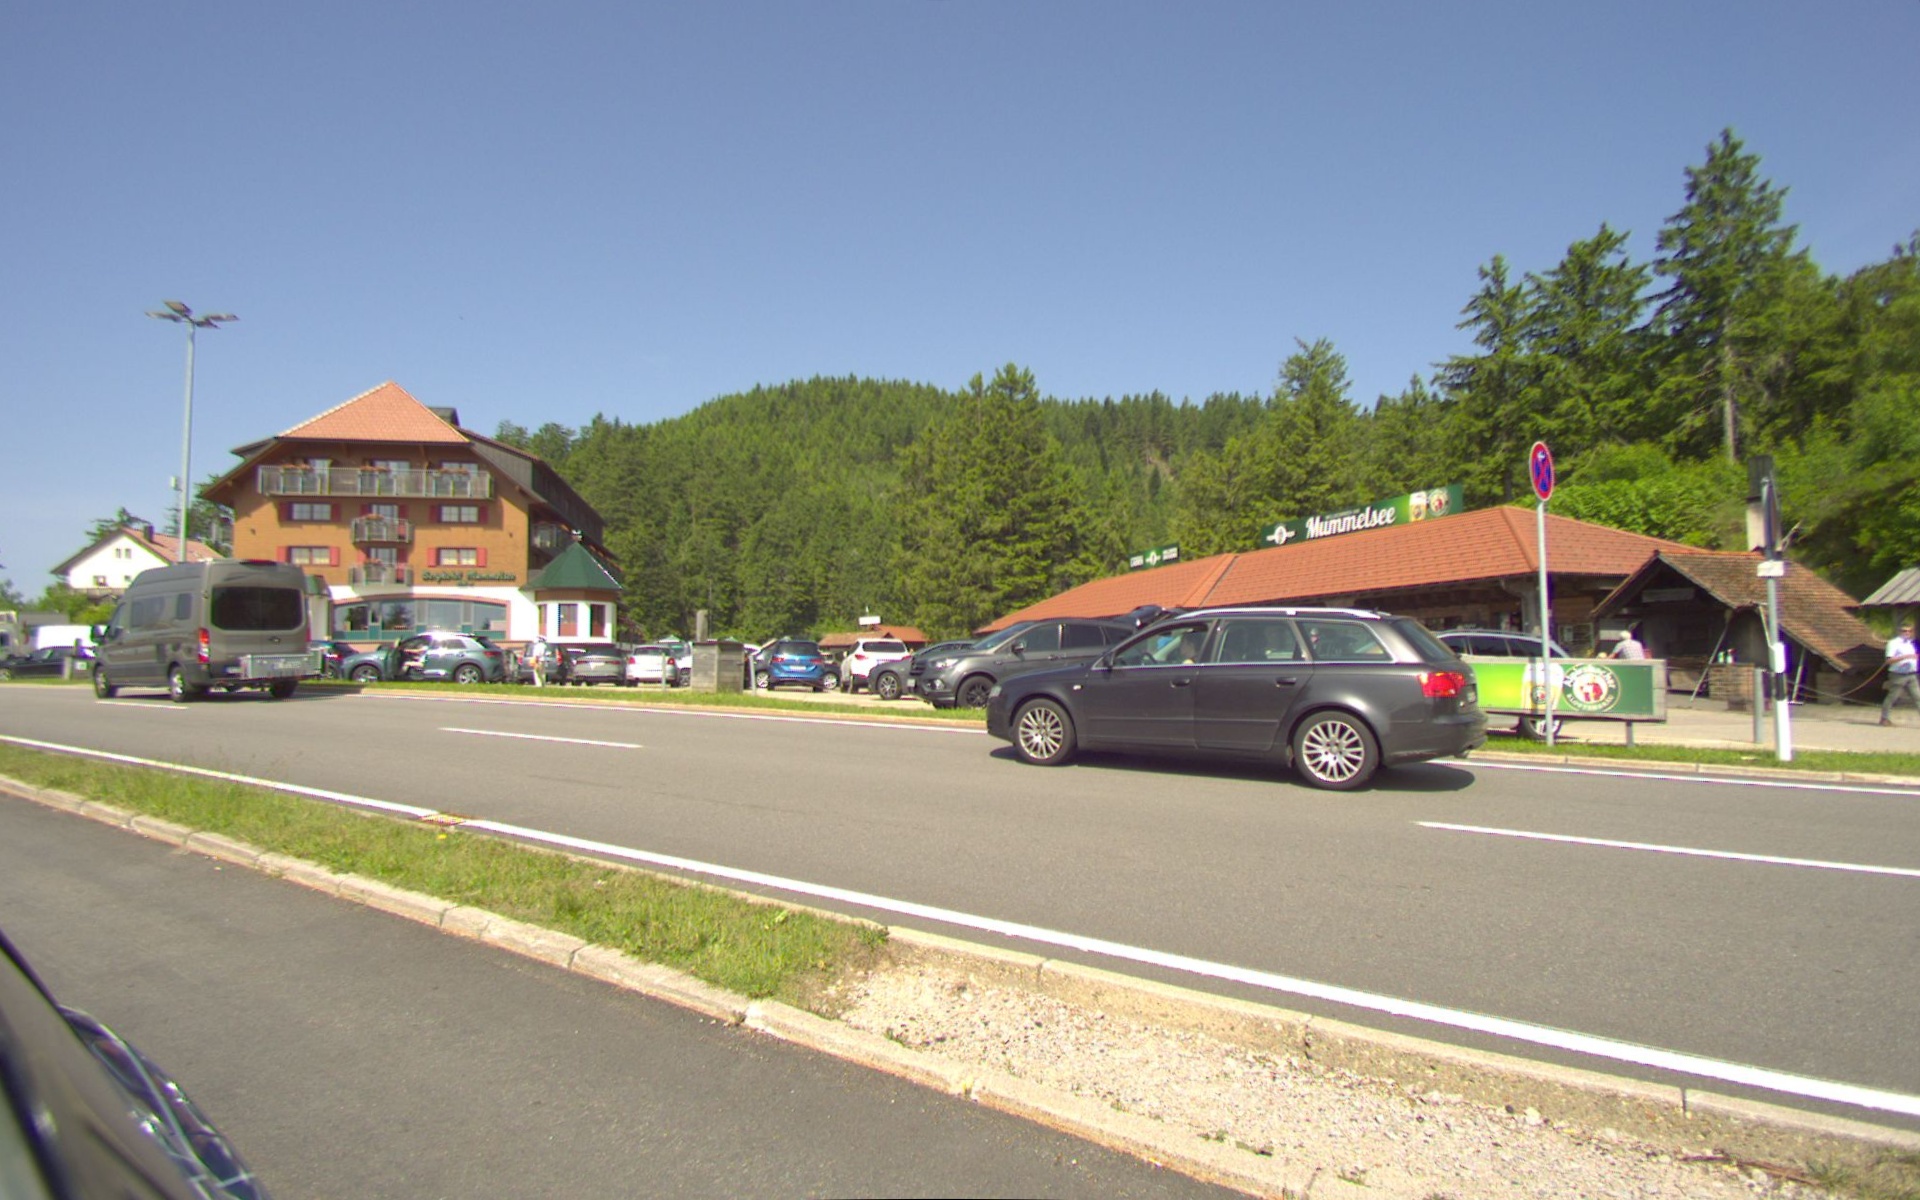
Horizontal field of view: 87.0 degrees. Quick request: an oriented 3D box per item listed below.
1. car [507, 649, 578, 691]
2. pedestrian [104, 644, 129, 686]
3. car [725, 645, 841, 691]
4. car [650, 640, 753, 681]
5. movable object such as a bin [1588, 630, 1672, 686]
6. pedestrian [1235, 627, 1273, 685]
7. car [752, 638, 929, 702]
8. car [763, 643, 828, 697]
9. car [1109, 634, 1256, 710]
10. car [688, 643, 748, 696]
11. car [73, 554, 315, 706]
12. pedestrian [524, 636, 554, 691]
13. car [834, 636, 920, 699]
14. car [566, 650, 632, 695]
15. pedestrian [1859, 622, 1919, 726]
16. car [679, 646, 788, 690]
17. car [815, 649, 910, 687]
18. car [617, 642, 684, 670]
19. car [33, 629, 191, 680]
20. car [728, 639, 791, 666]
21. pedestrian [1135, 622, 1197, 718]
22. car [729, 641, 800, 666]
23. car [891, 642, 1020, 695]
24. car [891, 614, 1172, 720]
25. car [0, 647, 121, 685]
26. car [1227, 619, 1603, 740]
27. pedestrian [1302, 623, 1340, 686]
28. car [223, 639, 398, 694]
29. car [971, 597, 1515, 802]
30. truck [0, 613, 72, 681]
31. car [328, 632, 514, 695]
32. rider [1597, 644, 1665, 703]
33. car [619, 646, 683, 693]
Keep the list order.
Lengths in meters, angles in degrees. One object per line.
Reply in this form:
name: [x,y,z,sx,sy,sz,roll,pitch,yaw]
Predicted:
car: [-15.710,2.608,38.253,1.794,1.524,4.105,1,-3,-13]
pedestrian: [-38.456,2.959,46.142,0.750,1.878,0.665,-2,-4,39]
car: [-6.562,2.500,37.399,4.025,1.641,1.829,1,-3,-15]
car: [-10.726,2.496,41.952,4.025,1.641,1.829,1,-3,-15]
movable object such as a bin: [14.856,1.272,22.483,0.969,1.198,1.218,0,-2,-5]
pedestrian: [10.478,1.993,36.092,0.948,2.029,0.859,1,-2,-21]
car: [-2.919,1.675,24.718,3.971,1.441,1.710,-1,-3,21]
car: [-5.393,2.239,32.812,1.794,1.641,4.105,1,-3,-13]
car: [5.413,1.745,25.215,1.888,1.729,4.106,1,-3,-15]
car: [-7.991,2.265,33.506,1.794,1.641,4.105,1,-3,-13]
car: [-15.881,0.647,20.873,5.898,2.772,1.996,-2,-3,32]
pedestrian: [-12.816,1.924,30.817,0.733,1.637,0.685,2,-3,-28]
car: [-2.561,1.993,30.339,1.888,1.729,4.106,1,-3,-15]
car: [-13.155,2.615,37.118,1.794,1.524,4.105,1,-3,-13]
pedestrian: [16.281,1.243,17.158,0.962,1.711,1.165,1,-3,-13]
car: [-8.862,2.640,39.519,4.025,1.641,1.829,1,-3,-15]
car: [-4.532,3.123,46.750,4.024,1.729,1.926,1,-3,-17]
car: [-19.940,3.608,65.379,4.026,1.729,1.925,1,-3,-14]
car: [-49.209,3.146,58.959,6.855,2.812,2.671,2,-4,-40]
car: [-13.491,3.542,67.957,4.026,1.729,1.925,1,-3,-14]
pedestrian: [3.641,1.229,17.937,0.733,1.648,0.849,1,-3,-18]
car: [-13.931,3.845,72.049,4.764,1.729,1.925,1,-3,-14]
car: [-0.176,2.350,34.823,4.024,1.729,1.926,1,-3,-17]
car: [1.209,1.138,17.423,4.474,1.669,1.727,1,-3,-17]
car: [-37.612,2.723,41.894,4.024,1.539,1.830,1,-3,-19]
car: [6.007,1.036,13.502,4.427,1.441,1.726,1,-3,-14]
pedestrian: [11.963,1.793,33.559,0.711,2.029,0.930,1,-2,-21]
car: [-20.112,2.066,31.526,4.199,1.641,1.829,1,-3,-15]
car: [2.411,0.792,9.142,4.437,1.449,1.692,-2,-3,34]
truck: [-56.938,2.856,60.461,2.834,3.850,9.045,-1,-2,-21]
car: [-14.771,1.758,27.993,4.199,1.641,1.829,1,-3,-15]
rider: [14.848,1.614,22.403,0.826,1.284,0.910,0,-2,-5]
car: [-10.572,2.357,34.850,1.794,1.524,4.105,1,-3,-13]
